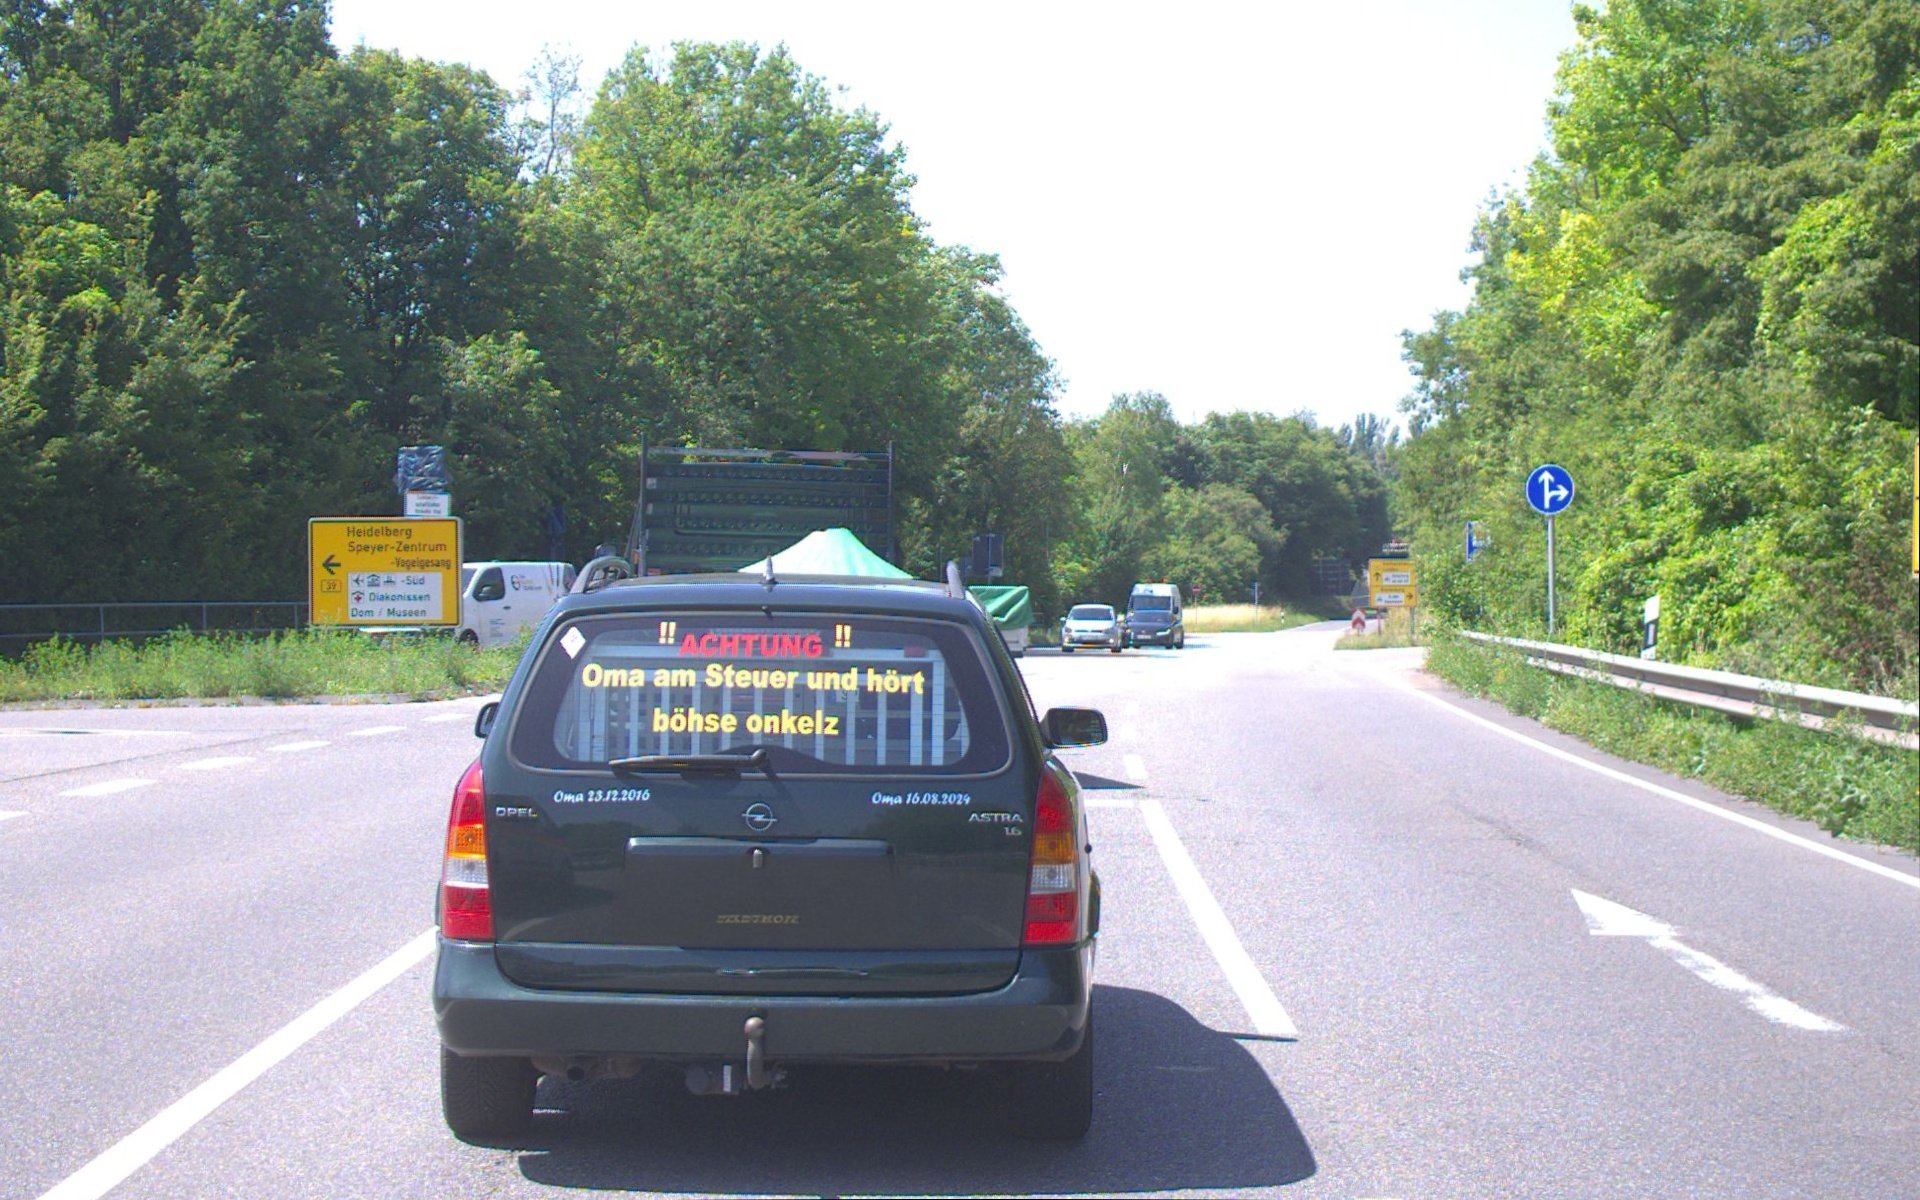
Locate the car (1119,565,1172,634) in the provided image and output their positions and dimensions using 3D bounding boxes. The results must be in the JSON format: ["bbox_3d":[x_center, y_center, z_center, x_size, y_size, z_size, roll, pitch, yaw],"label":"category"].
[{"bbox_3d":[7.830,-0.034,144.698,2.105,2.840,6.011,1,0,4],"label":"car"}]

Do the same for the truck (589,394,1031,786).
[{"bbox_3d":[-1.323,-0.104,25.860,2.138,2.556,6.641,0,1,-13],"label":"truck"}]

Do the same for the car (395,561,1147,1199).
[{"bbox_3d":[-0.424,0.635,9.831,1.720,1.452,3.797,1,1,0],"label":"car"}]

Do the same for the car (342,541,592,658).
[{"bbox_3d":[-8.521,-0.045,59.935,2.012,1.917,5.189,1,1,22],"label":"car"}]

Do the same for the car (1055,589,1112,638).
[{"bbox_3d":[3.709,0.401,103.100,1.644,1.414,3.766,1,0,3],"label":"car"}]
